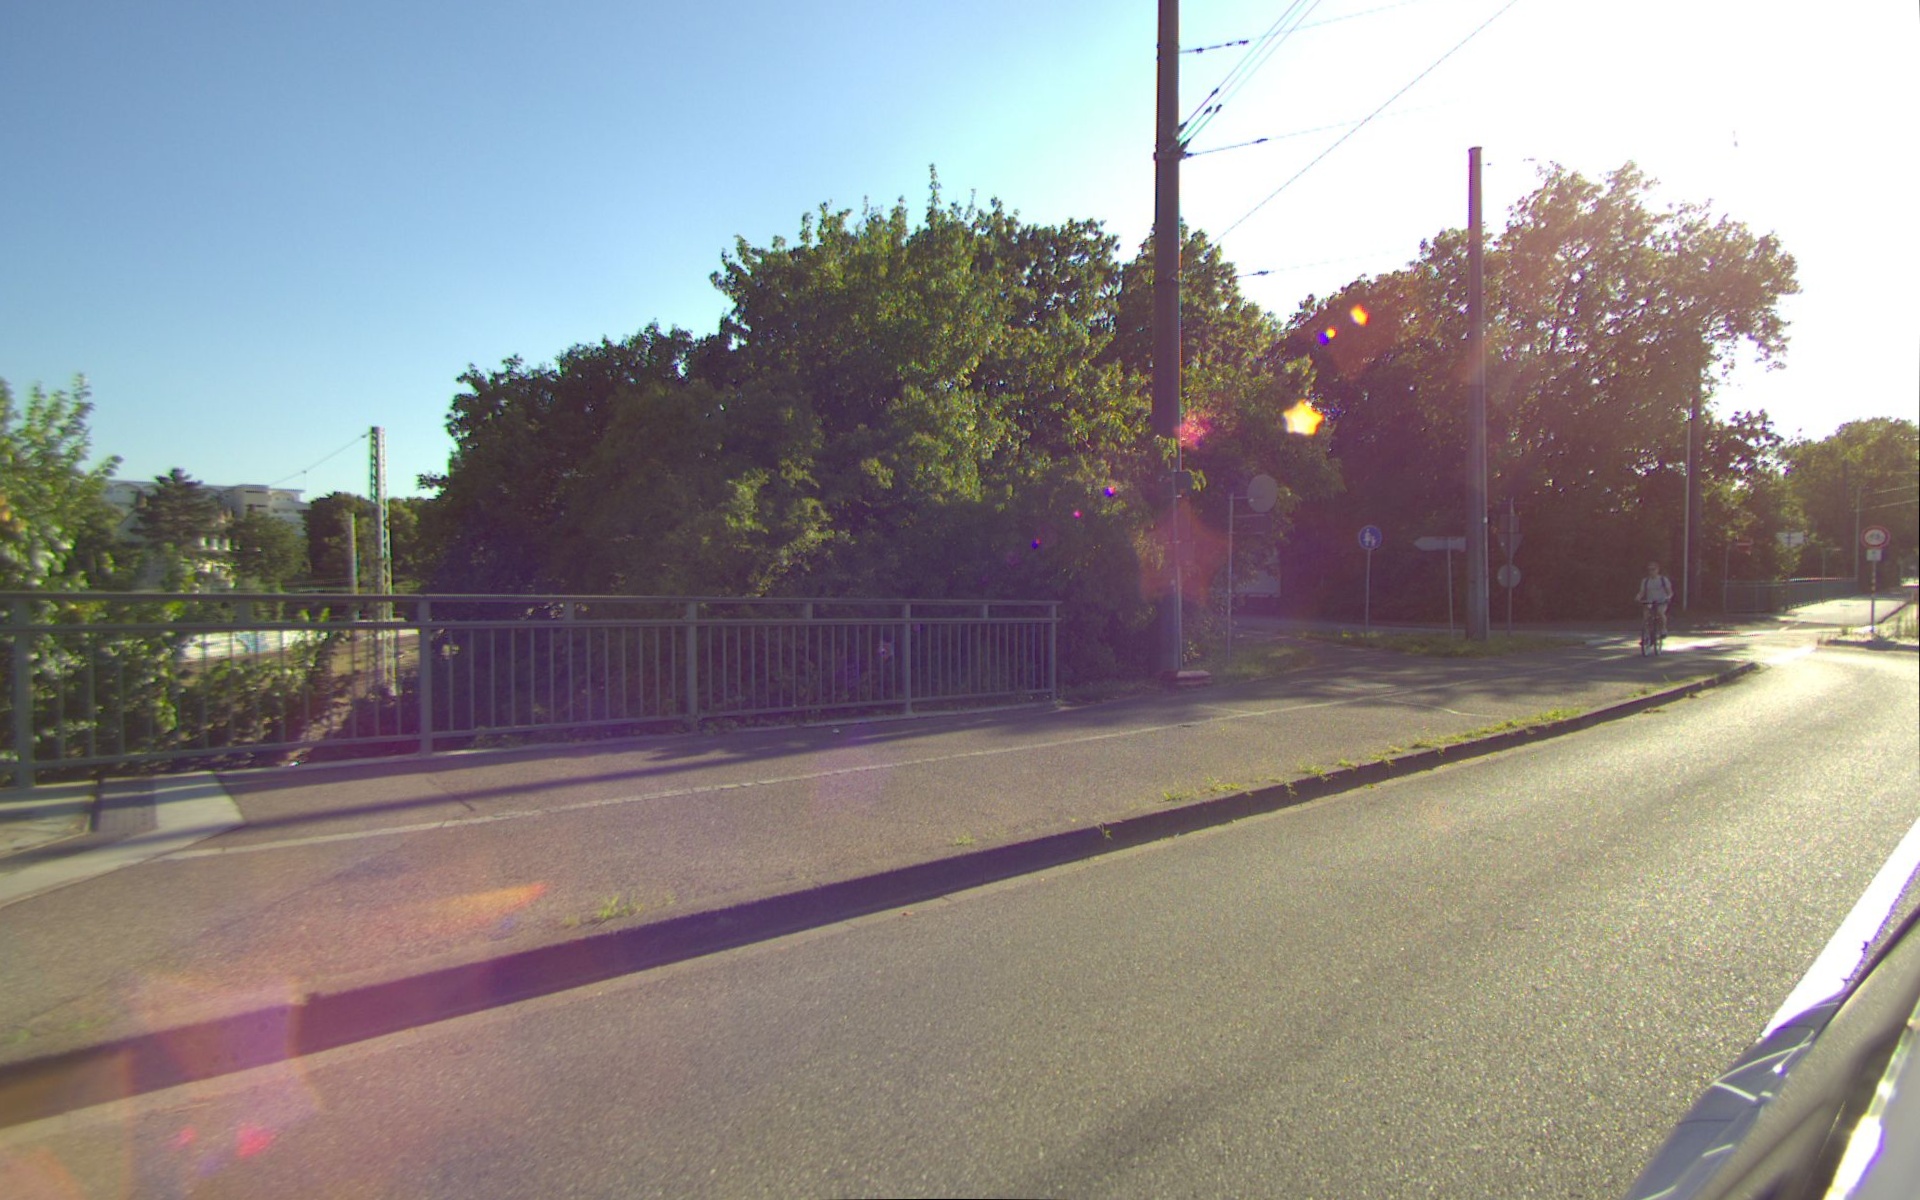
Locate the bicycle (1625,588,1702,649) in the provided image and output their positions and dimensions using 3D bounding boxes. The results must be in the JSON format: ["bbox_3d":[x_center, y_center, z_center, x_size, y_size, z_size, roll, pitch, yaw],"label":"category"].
[{"bbox_3d":[14.198,0.354,20.395,2.697,1.137,0.731,-1,-1,-44],"label":"bicycle"}]

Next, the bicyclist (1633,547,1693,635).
[{"bbox_3d":[14.192,-0.183,20.433,1.182,1.711,0.731,-1,-1,-44],"label":"bicyclist"}]

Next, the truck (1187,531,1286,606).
[{"bbox_3d":[16.104,-1.834,59.844,2.510,4.047,9.896,0,2,-4],"label":"truck"}]
